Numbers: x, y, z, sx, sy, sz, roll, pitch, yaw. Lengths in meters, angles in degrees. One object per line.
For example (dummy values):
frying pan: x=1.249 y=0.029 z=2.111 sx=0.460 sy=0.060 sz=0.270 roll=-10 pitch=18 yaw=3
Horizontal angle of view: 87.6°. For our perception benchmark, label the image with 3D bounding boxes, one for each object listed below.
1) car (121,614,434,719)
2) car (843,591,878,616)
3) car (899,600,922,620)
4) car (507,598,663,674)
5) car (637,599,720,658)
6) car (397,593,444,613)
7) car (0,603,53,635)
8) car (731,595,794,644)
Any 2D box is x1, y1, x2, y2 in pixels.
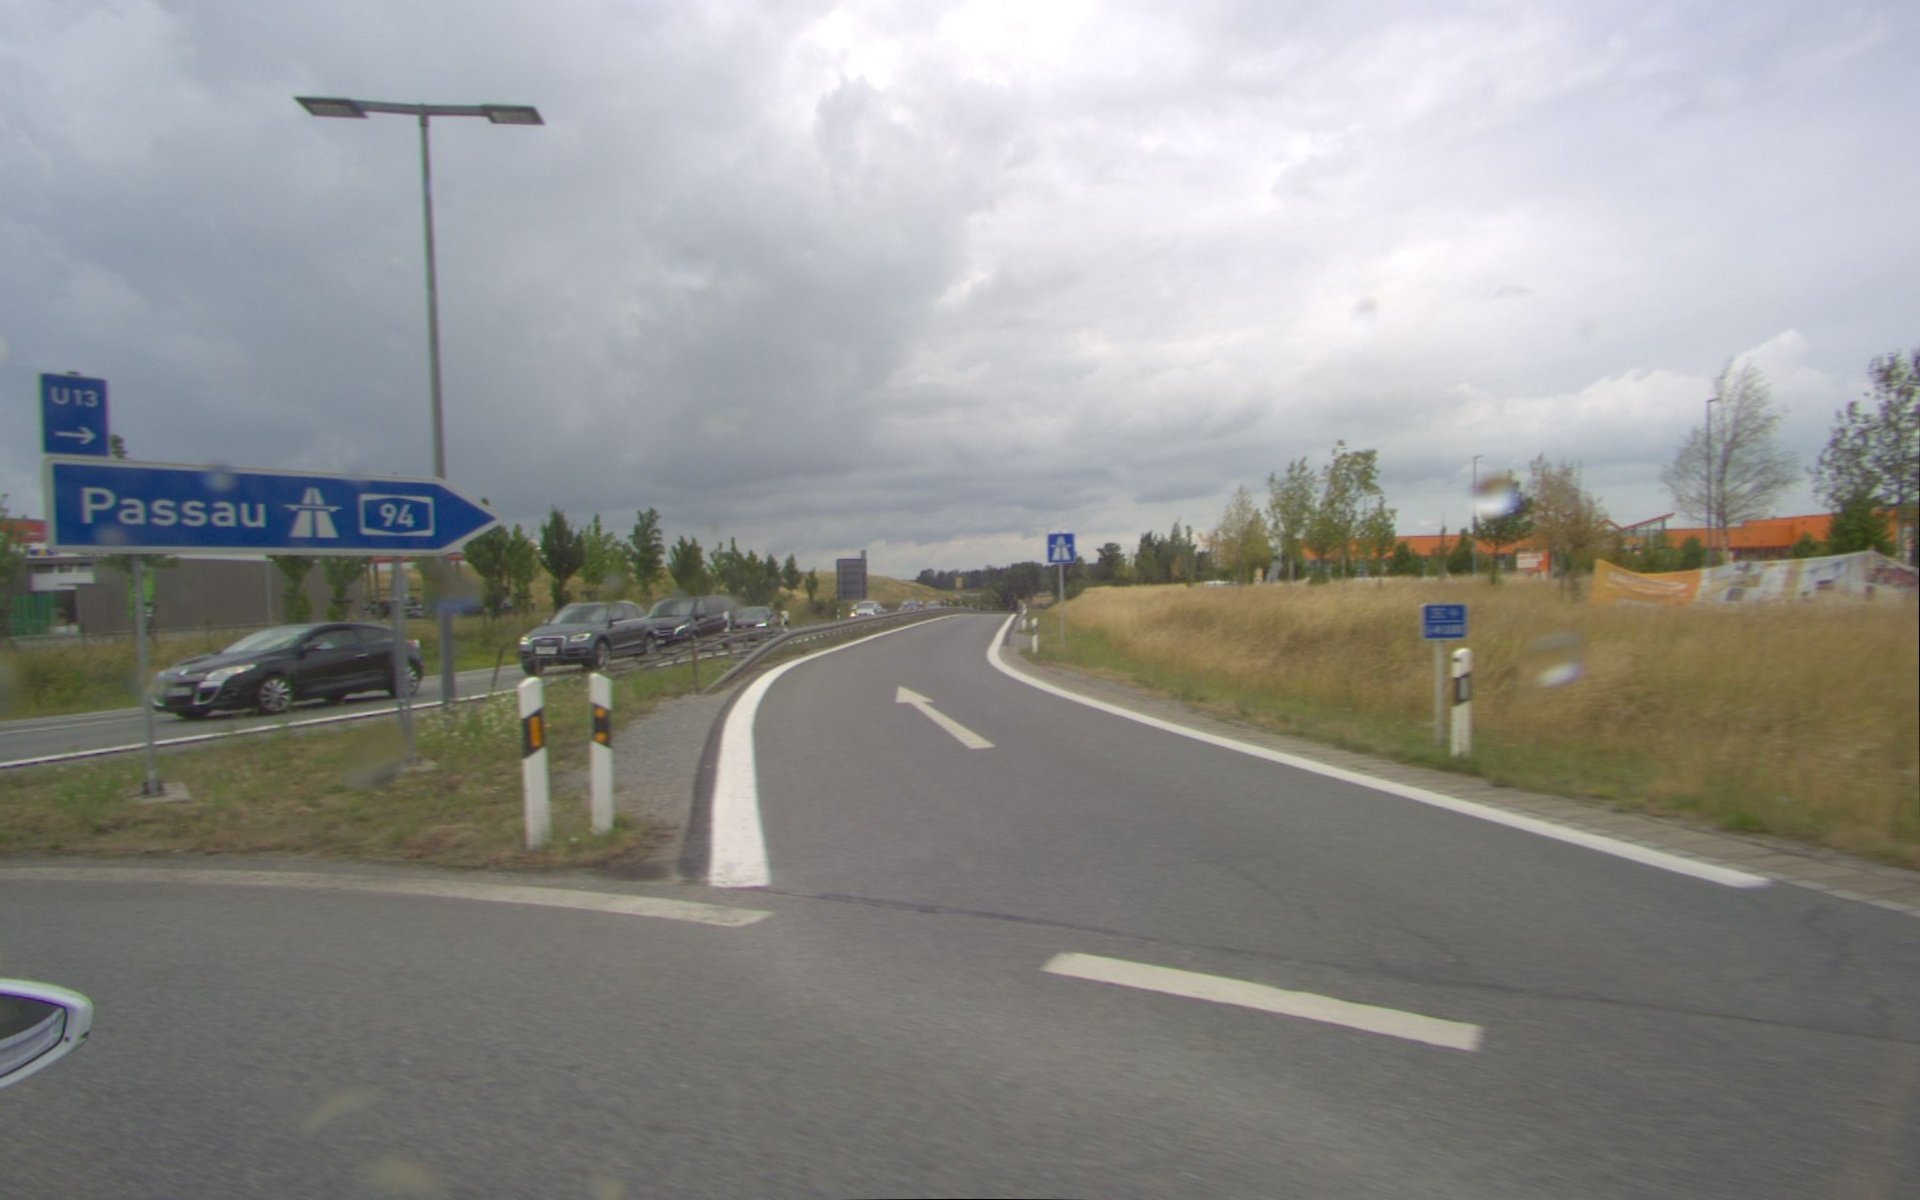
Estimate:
car: x=-11.115 y=1.011 z=16.727 sx=1.810 sy=1.388 sz=4.140 roll=-2 pitch=0 yaw=13
car: x=-6.430 y=0.212 z=65.015 sx=1.655 sy=1.518 sz=3.998 roll=-1 pitch=1 yaw=2
car: x=-4.508 y=0.890 z=91.213 sx=1.729 sy=1.686 sz=3.998 roll=-1 pitch=1 yaw=2
car: x=-9.064 y=0.804 z=24.610 sx=1.848 sy=1.604 sz=4.275 roll=-2 pitch=0 yaw=5
car: x=-9.222 y=0.869 z=33.170 sx=1.689 sy=1.744 sz=4.744 roll=-2 pitch=0 yaw=-4
car: x=-43.769 y=0.233 z=81.350 sx=1.764 sy=1.559 sz=3.661 roll=-3 pitch=0 yaw=0
car: x=-44.682 y=0.915 z=46.346 sx=1.638 sy=1.450 sz=3.999 roll=-2 pitch=0 yaw=2
car: x=-8.454 y=0.800 z=43.170 sx=1.771 sy=1.908 sz=3.999 roll=-2 pitch=0 yaw=1
